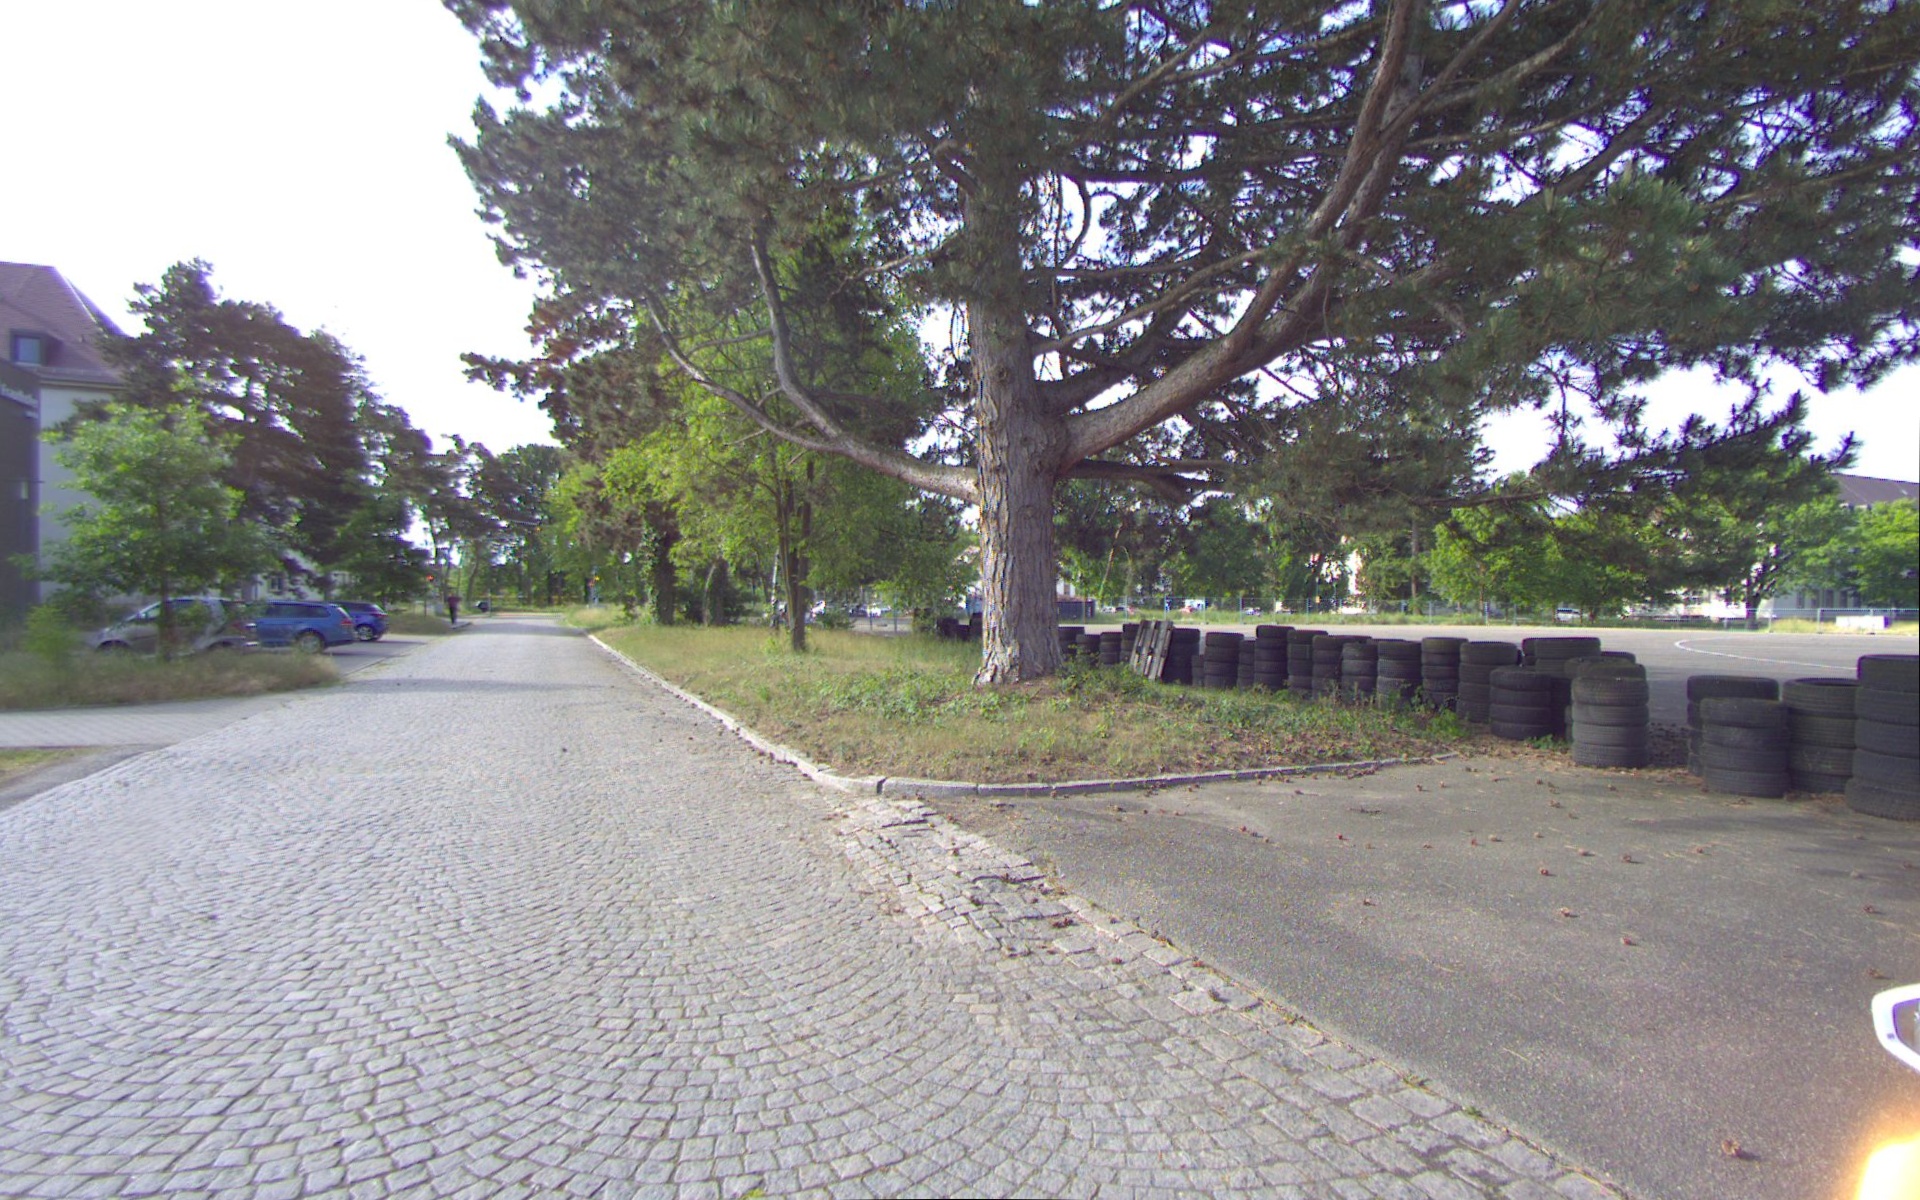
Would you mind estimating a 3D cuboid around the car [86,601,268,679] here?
[{"bbox_3d":[-16.603,0.805,21.423,2.727,1.570,1.419,0,0,-20],"label":"car"}]

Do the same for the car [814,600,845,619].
[{"bbox_3d":[-11.478,0.838,88.311,1.800,1.639,3.980,0,0,-21],"label":"car"}]

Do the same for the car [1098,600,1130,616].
[{"bbox_3d":[17.356,0.940,113.511,1.968,1.773,3.984,0,0,-18],"label":"car"}]

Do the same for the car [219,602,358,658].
[{"bbox_3d":[-18.871,0.848,28.383,3.056,1.476,1.481,3,-1,-28],"label":"car"}]

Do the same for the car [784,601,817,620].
[{"bbox_3d":[-13.819,0.874,87.000,1.971,1.639,3.978,0,0,-23],"label":"car"}]

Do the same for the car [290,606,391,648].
[{"bbox_3d":[-22.647,0.968,36.829,3.057,1.469,1.480,0,0,-30],"label":"car"}]

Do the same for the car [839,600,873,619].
[{"bbox_3d":[-9.296,0.825,89.584,1.971,1.639,3.978,0,0,-23],"label":"car"}]

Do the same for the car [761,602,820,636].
[{"bbox_3d":[-8.274,0.886,48.748,1.866,1.561,3.975,0,0,-25],"label":"car"}]

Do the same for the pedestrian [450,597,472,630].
[{"bbox_3d":[-28.411,0.773,57.152,0.950,1.869,0.945,0,0,-37],"label":"pedestrian"}]

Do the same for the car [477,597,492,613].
[{"bbox_3d":[-63.533,0.666,134.293,1.679,2.040,3.978,0,0,-23],"label":"car"}]

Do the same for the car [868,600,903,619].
[{"bbox_3d":[-6.758,0.824,91.033,1.971,1.639,3.978,0,0,-23],"label":"car"}]

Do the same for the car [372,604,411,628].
[{"bbox_3d":[-40.437,1.108,71.561,1.971,1.639,3.978,0,0,-23],"label":"car"}]
